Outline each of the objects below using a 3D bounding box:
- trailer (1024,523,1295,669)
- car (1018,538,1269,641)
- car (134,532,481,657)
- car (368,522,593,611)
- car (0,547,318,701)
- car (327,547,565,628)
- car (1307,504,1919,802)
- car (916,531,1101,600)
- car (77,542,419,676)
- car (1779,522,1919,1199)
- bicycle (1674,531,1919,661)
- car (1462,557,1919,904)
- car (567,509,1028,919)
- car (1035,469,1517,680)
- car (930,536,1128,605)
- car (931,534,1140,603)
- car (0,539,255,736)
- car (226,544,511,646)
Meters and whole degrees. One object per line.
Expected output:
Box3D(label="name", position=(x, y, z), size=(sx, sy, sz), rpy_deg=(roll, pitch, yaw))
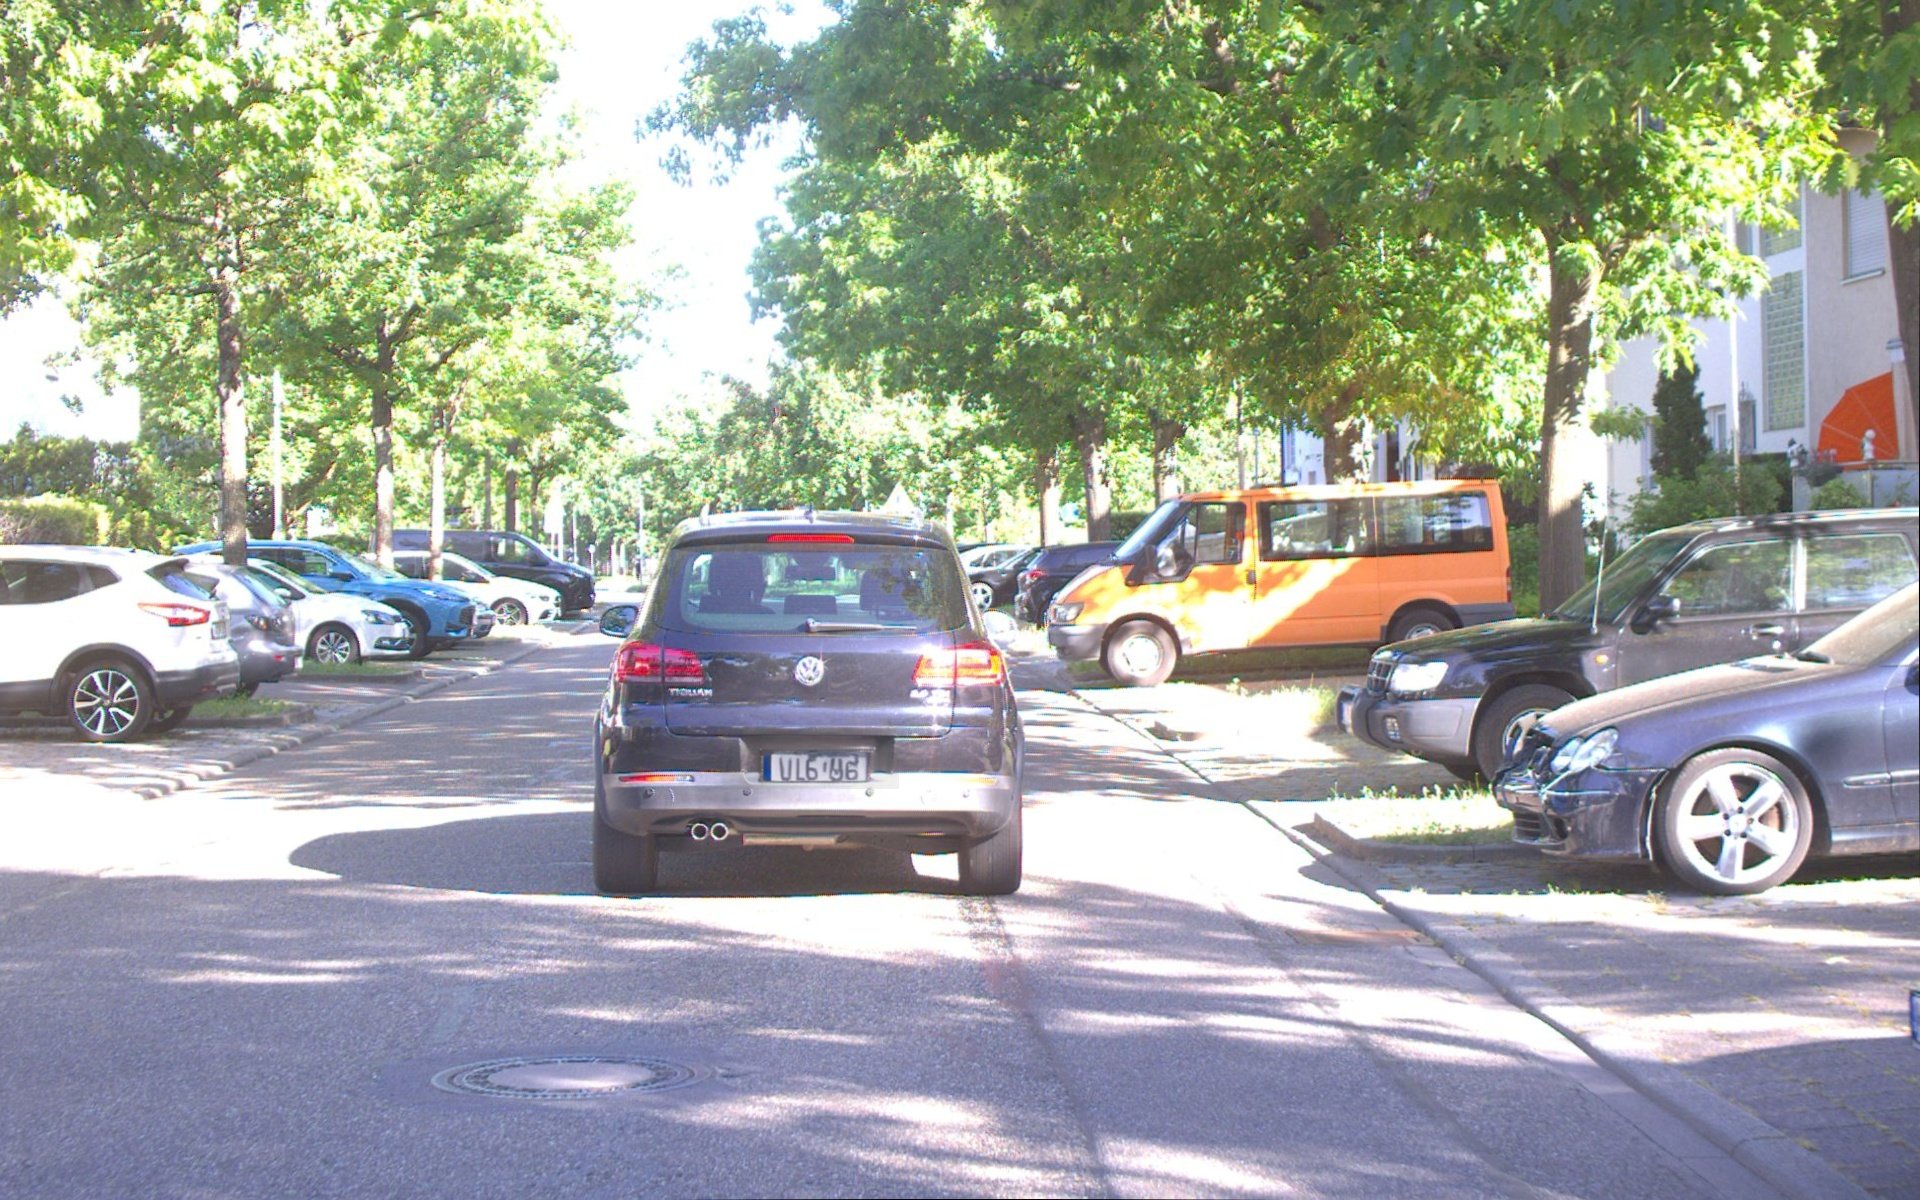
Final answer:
Box3D(label="trailer", position=(2.352, -0.062, 41.007), size=(2.945, 1.658, 1.615), rpy_deg=(-1, 1, -8))
Box3D(label="car", position=(2.923, -0.178, 55.348), size=(3.882, 1.510, 1.661), rpy_deg=(-1, 3, -2))
Box3D(label="car", position=(-9.117, -0.077, 48.324), size=(4.523, 1.625, 1.937), rpy_deg=(-1, 0, -2))
Box3D(label="car", position=(-10.487, -0.751, 75.474), size=(4.778, 1.910, 2.019), rpy_deg=(0, 1, -5))
Box3D(label="car", position=(-8.530, 0.210, 34.066), size=(4.033, 1.418, 1.810), rpy_deg=(1, 1, -3))
Box3D(label="car", position=(-9.665, -0.250, 64.921), size=(4.275, 1.473, 1.769), rpy_deg=(0, 1, -3))
Box3D(label="car", position=(4.370, 0.261, 20.316), size=(4.337, 1.555, 1.868), rpy_deg=(-2, 1, -2))
Box3D(label="car", position=(1.140, -0.832, 81.913), size=(4.276, 1.498, 1.797), rpy_deg=(-2, 1, -3))
Box3D(label="car", position=(-9.041, 0.115, 43.871), size=(3.986, 1.590, 1.857), rpy_deg=(-1, 0, -2))
Box3D(label="car", position=(4.252, 0.508, 7.691), size=(4.319, 1.524, 1.841), rpy_deg=(-3, 1, -2))
Box3D(label="bicycle", position=(8.930, -0.053, 35.749), size=(2.858, 1.233, 0.468), rpy_deg=(-3, 0, -1))
Box3D(label="car", position=(4.551, 0.475, 15.024), size=(4.427, 1.327, 1.691), rpy_deg=(-3, 1, 1))
Box3D(label="car", position=(-0.670, 0.436, 15.893), size=(1.838, 1.631, 3.958), rpy_deg=(1, 1, 0))
Box3D(label="car", position=(3.270, -0.277, 36.311), size=(4.818, 2.076, 2.086), rpy_deg=(-1, 1, -2))
Box3D(label="car", position=(1.518, -0.667, 76.921), size=(4.276, 1.409, 1.797), rpy_deg=(-2, 1, -3))
Box3D(label="car", position=(1.605, -0.676, 74.121), size=(4.345, 1.358, 1.874), rpy_deg=(-2, 0, -3))
Box3D(label="car", position=(-8.161, 0.275, 28.687), size=(4.187, 1.561, 1.792), rpy_deg=(1, 1, 0))
Box3D(label="car", position=(-9.197, -0.077, 53.689), size=(4.182, 1.487, 1.647), rpy_deg=(-1, 0, -2))
